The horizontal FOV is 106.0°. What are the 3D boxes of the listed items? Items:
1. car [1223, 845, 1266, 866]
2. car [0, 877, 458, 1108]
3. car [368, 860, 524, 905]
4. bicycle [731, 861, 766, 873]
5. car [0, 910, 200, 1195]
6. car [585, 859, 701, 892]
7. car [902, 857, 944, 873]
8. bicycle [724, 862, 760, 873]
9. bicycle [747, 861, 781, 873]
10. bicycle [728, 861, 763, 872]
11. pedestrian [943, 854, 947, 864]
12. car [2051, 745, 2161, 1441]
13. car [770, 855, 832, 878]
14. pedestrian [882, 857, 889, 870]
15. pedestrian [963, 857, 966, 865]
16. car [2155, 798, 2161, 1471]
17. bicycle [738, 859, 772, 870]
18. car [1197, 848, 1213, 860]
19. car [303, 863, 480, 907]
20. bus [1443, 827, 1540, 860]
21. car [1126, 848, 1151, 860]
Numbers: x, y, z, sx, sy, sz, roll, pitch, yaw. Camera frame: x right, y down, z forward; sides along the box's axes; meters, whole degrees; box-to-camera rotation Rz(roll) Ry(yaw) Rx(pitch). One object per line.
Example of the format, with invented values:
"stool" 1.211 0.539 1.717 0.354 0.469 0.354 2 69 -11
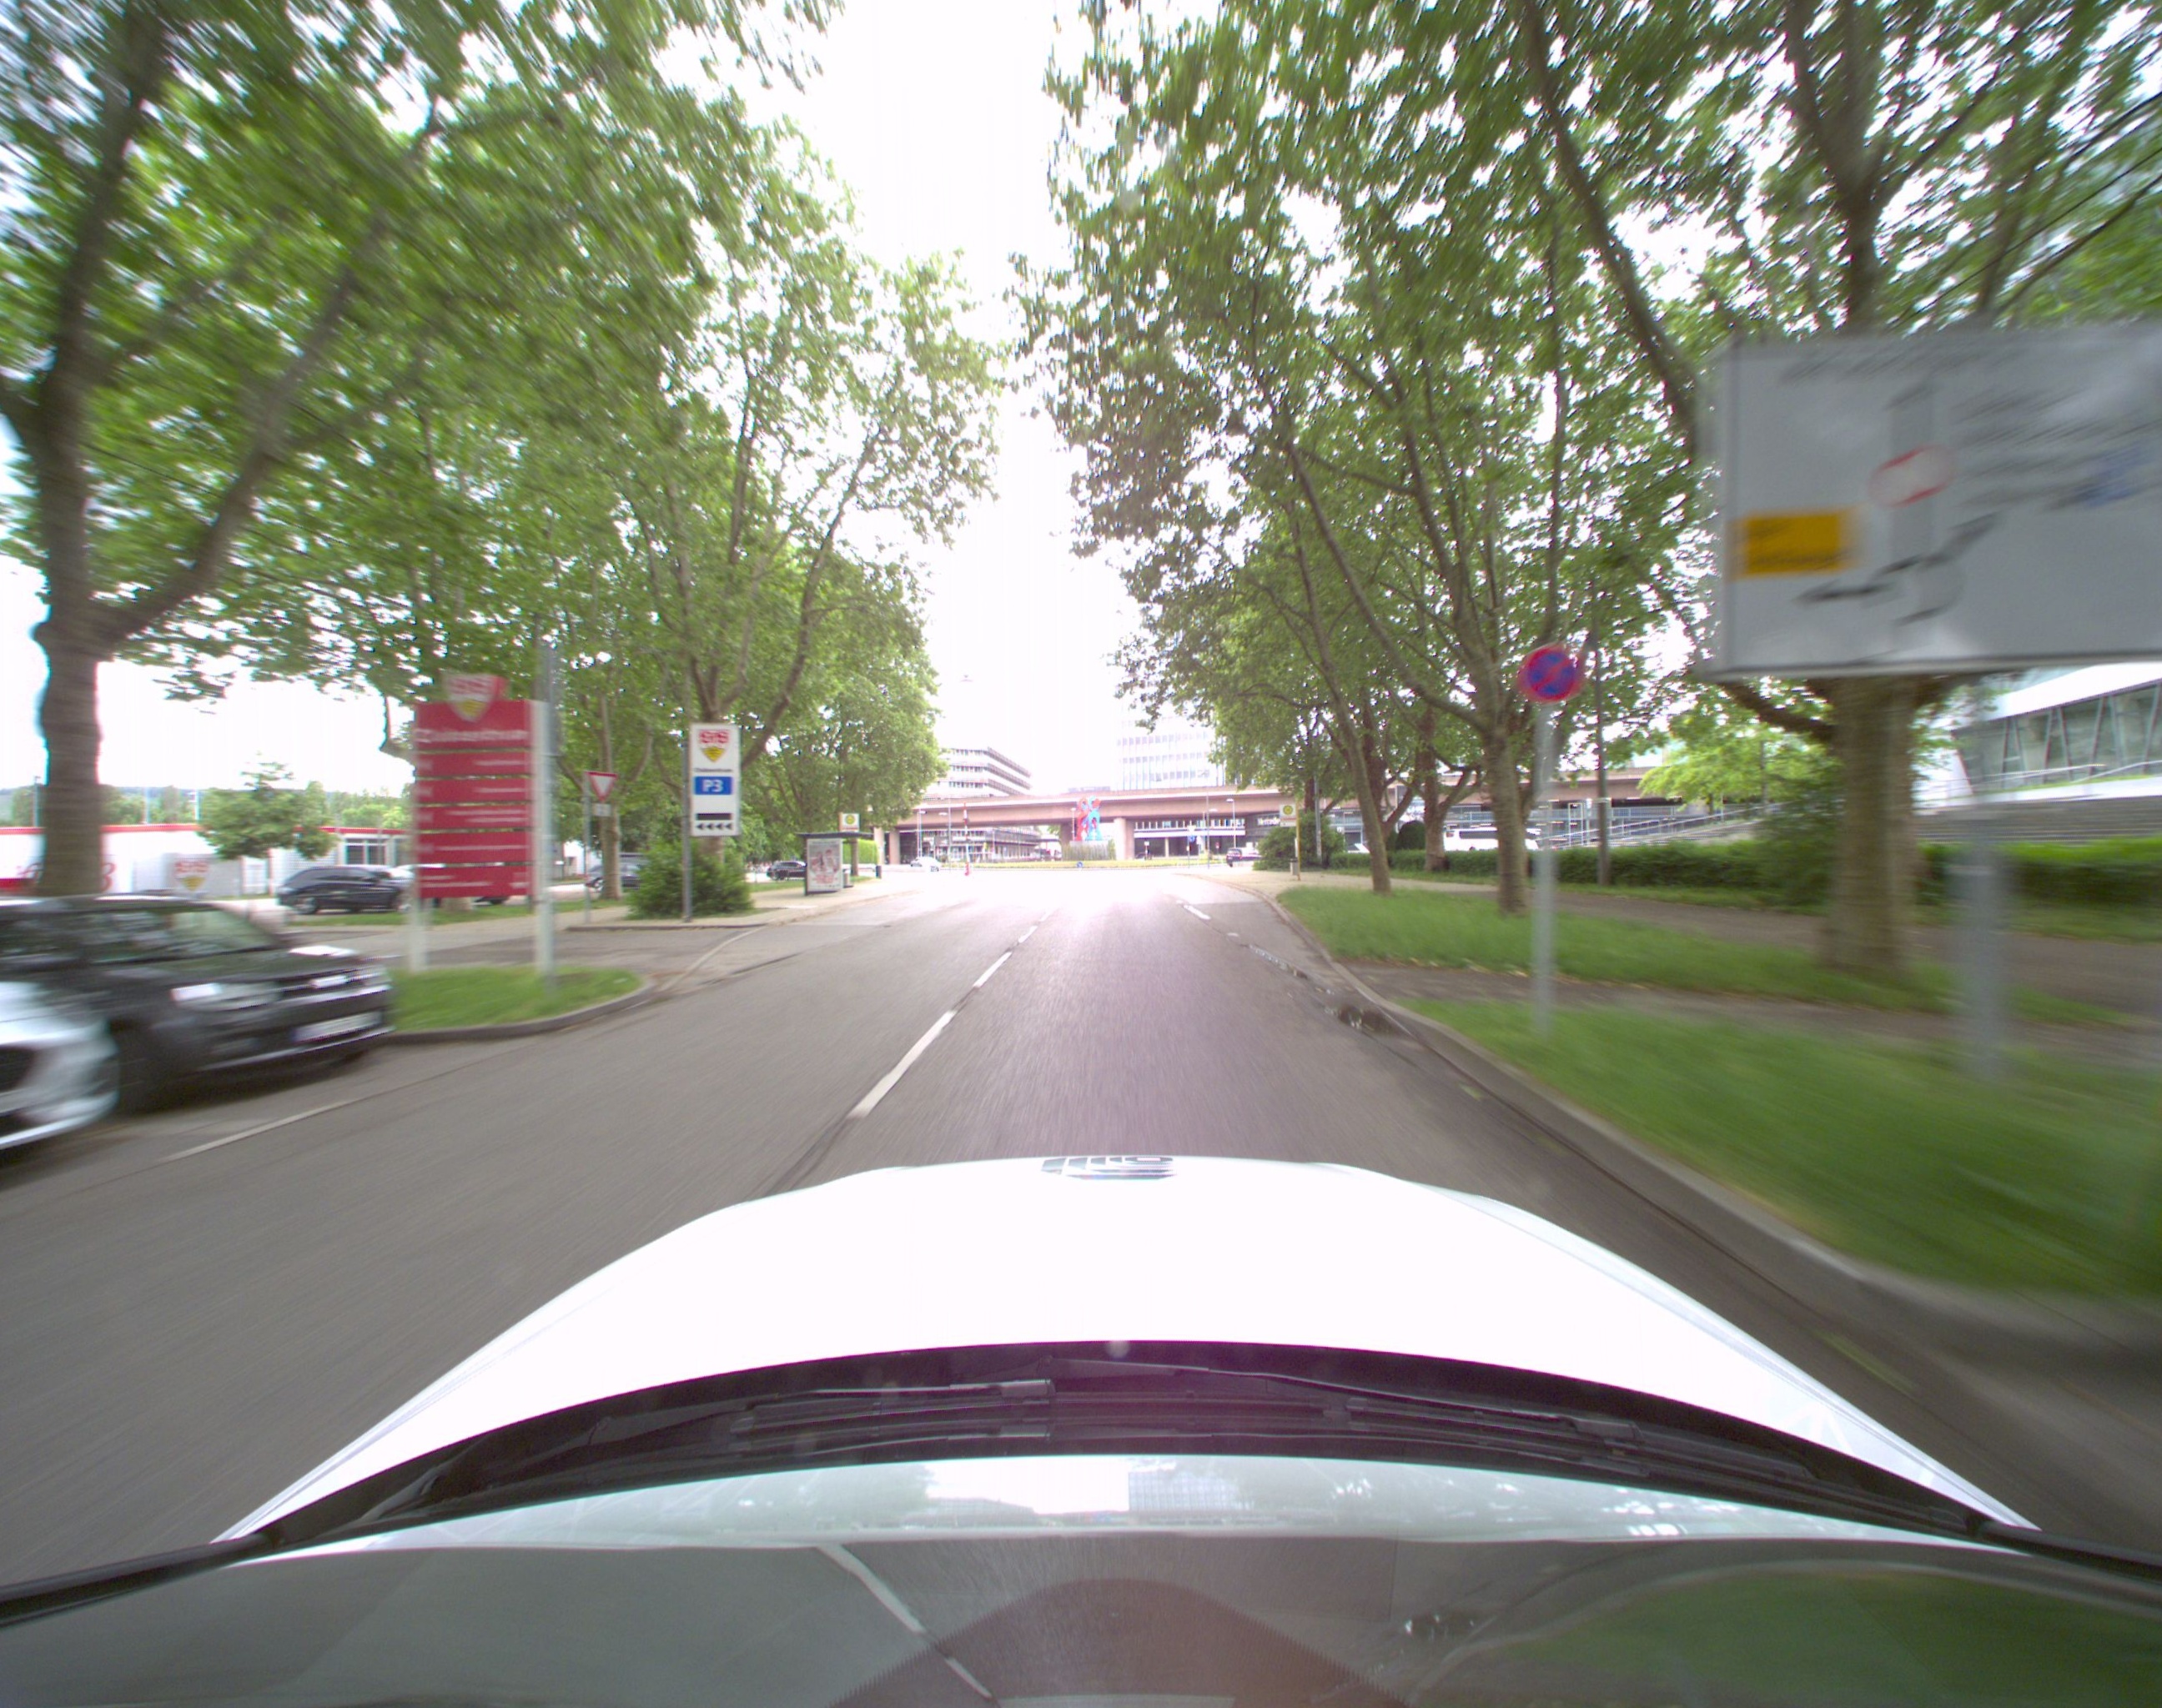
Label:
"car" 16.269 0.116 80.750 2.254 2.014 4.814 -1 -1 39
"car" -7.705 0.995 6.585 3.977 1.540 1.806 0 -1 3
"car" -22.507 0.982 28.991 3.972 1.522 2.002 0 -1 1
"bicycle" -33.604 1.310 82.406 3.186 1.097 0.769 0 -1 -15
"car" -7.447 1.045 4.167 3.975 1.385 1.914 -1 0 5
"car" -21.779 1.076 40.599 4.605 1.568 2.111 0 -1 3
"car" -15.922 1.140 81.872 1.917 1.453 4.756 -3 0 -42
"bicycle" -33.303 1.307 80.082 3.185 1.097 0.769 0 -1 -14
"bicycle" -32.942 1.346 84.660 3.186 1.097 0.769 -2 0 -15
"bicycle" -33.548 1.249 81.429 3.185 1.097 0.769 0 -1 -14
"pedestrian" -27.140 0.952 162.522 0.588 2.014 0.597 0 -1 -10
"car" 4.672 0.576 1.119 4.330 1.633 1.926 0 1 2
"car" -21.155 0.961 61.729 3.984 1.605 2.227 -1 0 -8
"pedestrian" -30.045 1.407 125.375 1.043 2.014 0.597 0 -1 -10
"pedestrian" -29.387 1.670 205.405 0.773 2.013 0.671 -2 0 2
"car" 4.791 0.636 1.104 3.972 2.013 2.001 0 0 2
"bicycle" -33.429 1.077 83.559 3.186 1.097 0.769 -1 0 -15
"car" 21.245 -0.046 139.017 1.977 2.014 4.019 -1 0 19
"car" -22.081 0.970 26.209 3.973 1.324 2.002 0 0 0
"bus" 50.037 -1.222 99.269 11.047 3.934 2.749 0 -1 -10
"car" 8.881 0.000 125.509 1.974 1.772 4.025 -1 -1 37
